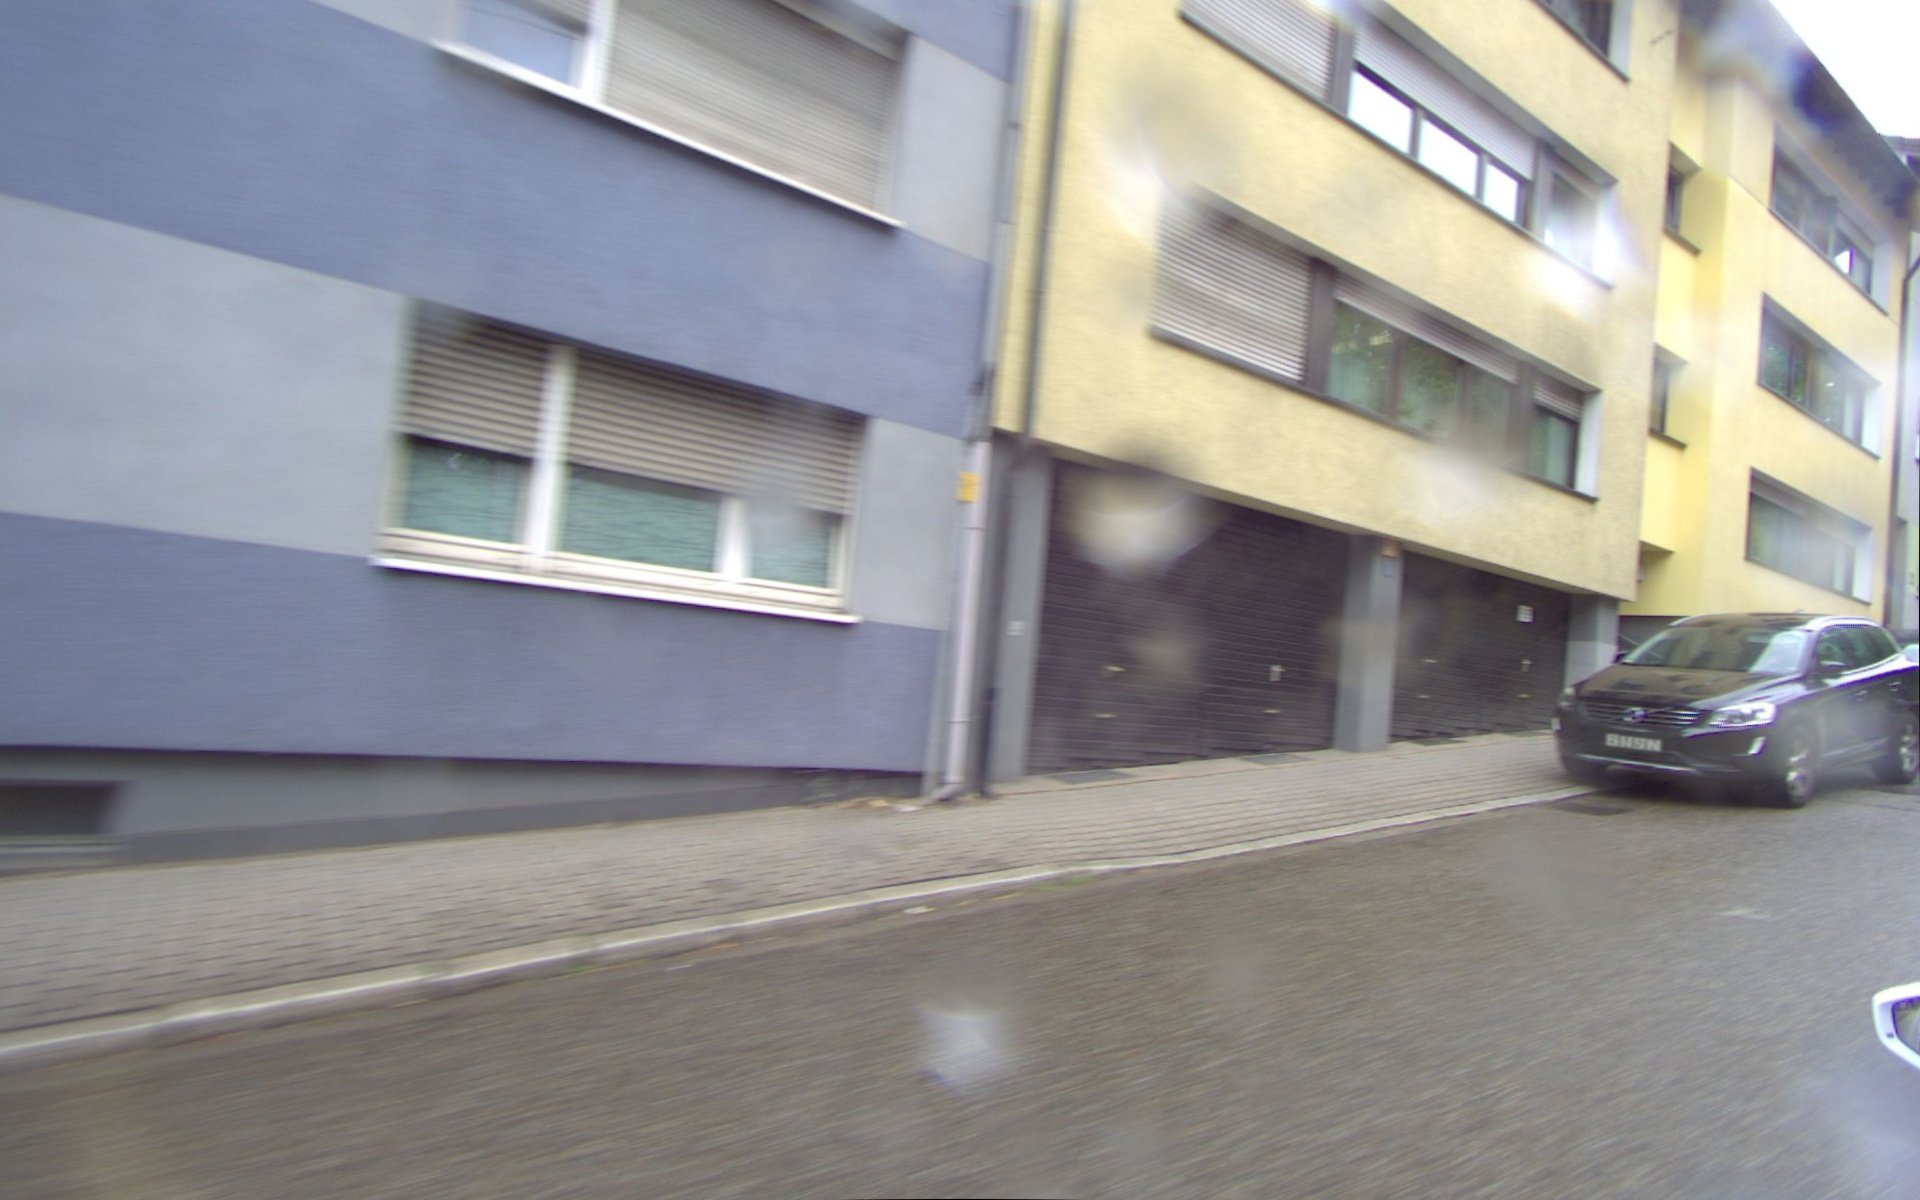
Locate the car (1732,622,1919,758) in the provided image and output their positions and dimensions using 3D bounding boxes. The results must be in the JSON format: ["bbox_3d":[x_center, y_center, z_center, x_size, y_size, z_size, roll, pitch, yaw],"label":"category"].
[{"bbox_3d":[12.233,1.077,13.321,4.305,1.492,1.980,1,0,-35],"label":"car"}]

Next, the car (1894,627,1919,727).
[{"bbox_3d":[16.263,1.203,15.736,3.456,1.492,1.717,1,0,-35],"label":"car"}]

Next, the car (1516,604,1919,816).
[{"bbox_3d":[7.764,0.916,10.034,4.392,1.672,1.983,1,0,-32],"label":"car"}]
